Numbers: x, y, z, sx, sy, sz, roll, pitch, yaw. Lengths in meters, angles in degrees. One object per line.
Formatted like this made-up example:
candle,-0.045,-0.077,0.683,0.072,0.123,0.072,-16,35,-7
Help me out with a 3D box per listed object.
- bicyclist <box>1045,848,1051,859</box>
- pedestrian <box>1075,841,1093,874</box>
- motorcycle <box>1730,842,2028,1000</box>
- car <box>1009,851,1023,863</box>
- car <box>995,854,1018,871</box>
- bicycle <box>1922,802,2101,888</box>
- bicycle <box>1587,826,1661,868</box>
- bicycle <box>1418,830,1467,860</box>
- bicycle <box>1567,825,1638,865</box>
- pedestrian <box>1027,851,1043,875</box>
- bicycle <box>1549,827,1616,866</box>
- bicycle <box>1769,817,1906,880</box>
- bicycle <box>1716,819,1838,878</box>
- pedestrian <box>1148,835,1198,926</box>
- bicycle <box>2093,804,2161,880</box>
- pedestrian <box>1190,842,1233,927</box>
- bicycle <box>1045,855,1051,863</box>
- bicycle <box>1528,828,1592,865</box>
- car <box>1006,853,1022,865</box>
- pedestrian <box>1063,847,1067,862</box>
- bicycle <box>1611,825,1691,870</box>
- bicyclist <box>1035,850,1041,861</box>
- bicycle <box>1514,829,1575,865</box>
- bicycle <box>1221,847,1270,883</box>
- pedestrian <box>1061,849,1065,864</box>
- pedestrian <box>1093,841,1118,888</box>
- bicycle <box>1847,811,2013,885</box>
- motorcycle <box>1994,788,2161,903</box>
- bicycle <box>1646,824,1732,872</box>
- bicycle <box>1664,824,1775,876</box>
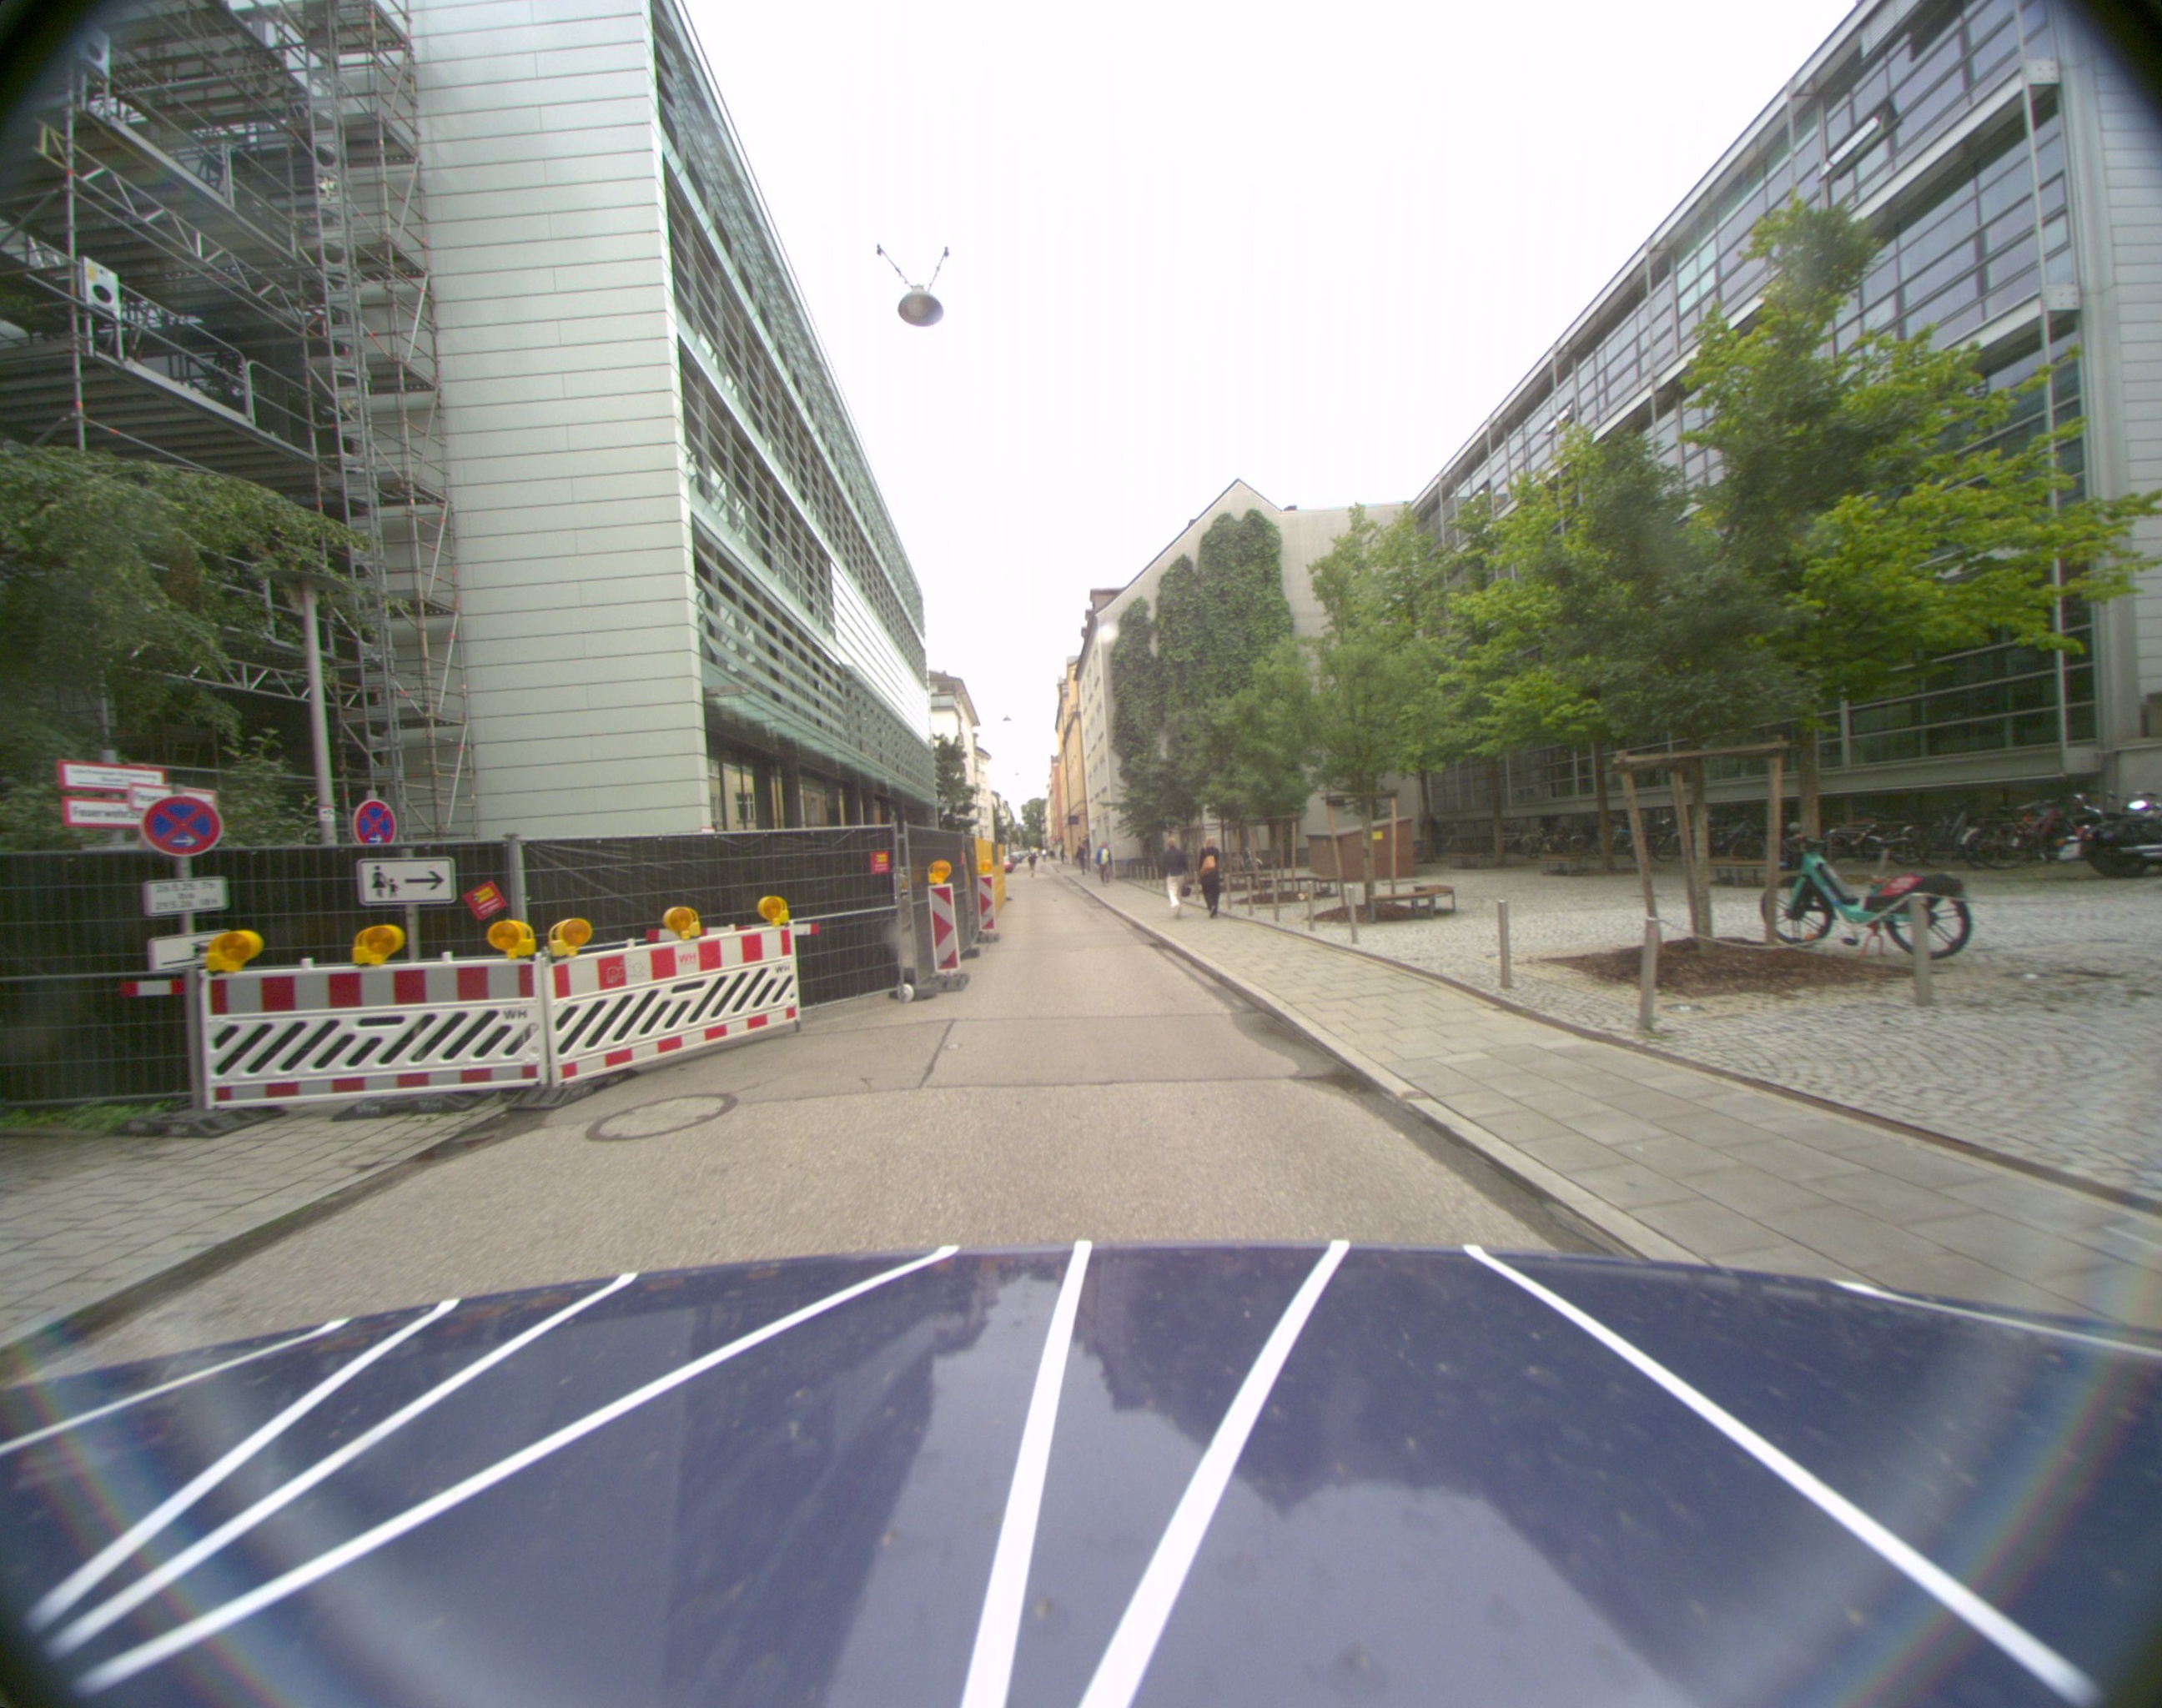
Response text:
bicyclist,-4.349,-0.058,99.282,0.718,1.399,0.965,-3,1,-4
pedestrian,0.190,0.223,45.390,0.745,1.892,0.878,-5,1,-14
motorcycle,6.919,0.497,6.771,0.577,1.166,1.980,-4,1,2
car,-9.252,0.409,108.884,1.794,1.550,3.998,-3,1,-4
car,-6.790,0.764,69.436,1.810,1.390,3.998,-3,1,-4
bicycle,14.678,-0.141,12.016,1.901,1.197,0.698,-4,1,1
bicycle,15.092,-0.195,21.131,1.575,1.054,0.629,-4,1,0
bicycle,15.203,-0.386,31.996,1.725,1.136,0.602,-3,1,2
bicycle,15.047,-0.257,21.927,1.575,1.054,0.629,-4,1,0
pedestrian,-3.119,0.594,51.089,0.712,1.542,0.775,-5,1,-25
bicycle,15.201,-0.231,23.038,1.575,1.054,0.629,-4,1,0
bicycle,14.740,-0.105,14.839,1.901,1.069,0.708,-4,1,1
bicycle,14.719,-0.113,16.094,1.901,1.099,0.666,-4,1,1
pedestrian,1.916,0.536,16.022,0.778,1.826,0.991,-3,1,-4
bicycle,15.807,-0.179,10.814,0.417,1.085,1.795,-3,1,1
pedestrian,2.641,0.598,15.468,0.554,1.650,0.997,-3,1,-4
bicycle,-4.311,0.645,99.305,0.700,0.926,1.693,-3,1,-4
bicycle,15.120,-0.225,24.018,1.575,1.054,0.629,-4,1,0
car,-7.565,0.560,86.374,1.625,1.259,4.327,-3,1,-4
pedestrian,-1.747,0.063,83.287,0.386,1.666,0.448,-2,2,-6
bicycle,15.008,-0.166,20.025,1.575,1.054,0.629,-4,1,0
bicyclist,-5.561,0.167,97.884,0.700,1.399,0.768,-3,1,-4
bicycle,15.078,-0.234,24.744,1.575,1.054,0.629,-4,1,0
bicycle,6.035,0.396,27.962,0.714,1.202,1.995,-5,1,-21
pedestrian,-1.932,0.258,83.201,0.352,1.632,0.401,-3,1,-3
pedestrian,1.015,0.420,31.416,0.861,1.834,0.973,-4,1,-2
bicycle,14.721,-0.110,13.210,1.901,1.119,0.826,-4,1,1
motorcycle,14.147,-0.156,10.144,2.671,1.404,0.970,-3,1,1
bicycle,14.996,-0.153,18.765,1.575,1.054,0.629,-4,1,0
bicycle,14.683,-0.092,17.499,1.901,1.052,0.705,-4,1,1
